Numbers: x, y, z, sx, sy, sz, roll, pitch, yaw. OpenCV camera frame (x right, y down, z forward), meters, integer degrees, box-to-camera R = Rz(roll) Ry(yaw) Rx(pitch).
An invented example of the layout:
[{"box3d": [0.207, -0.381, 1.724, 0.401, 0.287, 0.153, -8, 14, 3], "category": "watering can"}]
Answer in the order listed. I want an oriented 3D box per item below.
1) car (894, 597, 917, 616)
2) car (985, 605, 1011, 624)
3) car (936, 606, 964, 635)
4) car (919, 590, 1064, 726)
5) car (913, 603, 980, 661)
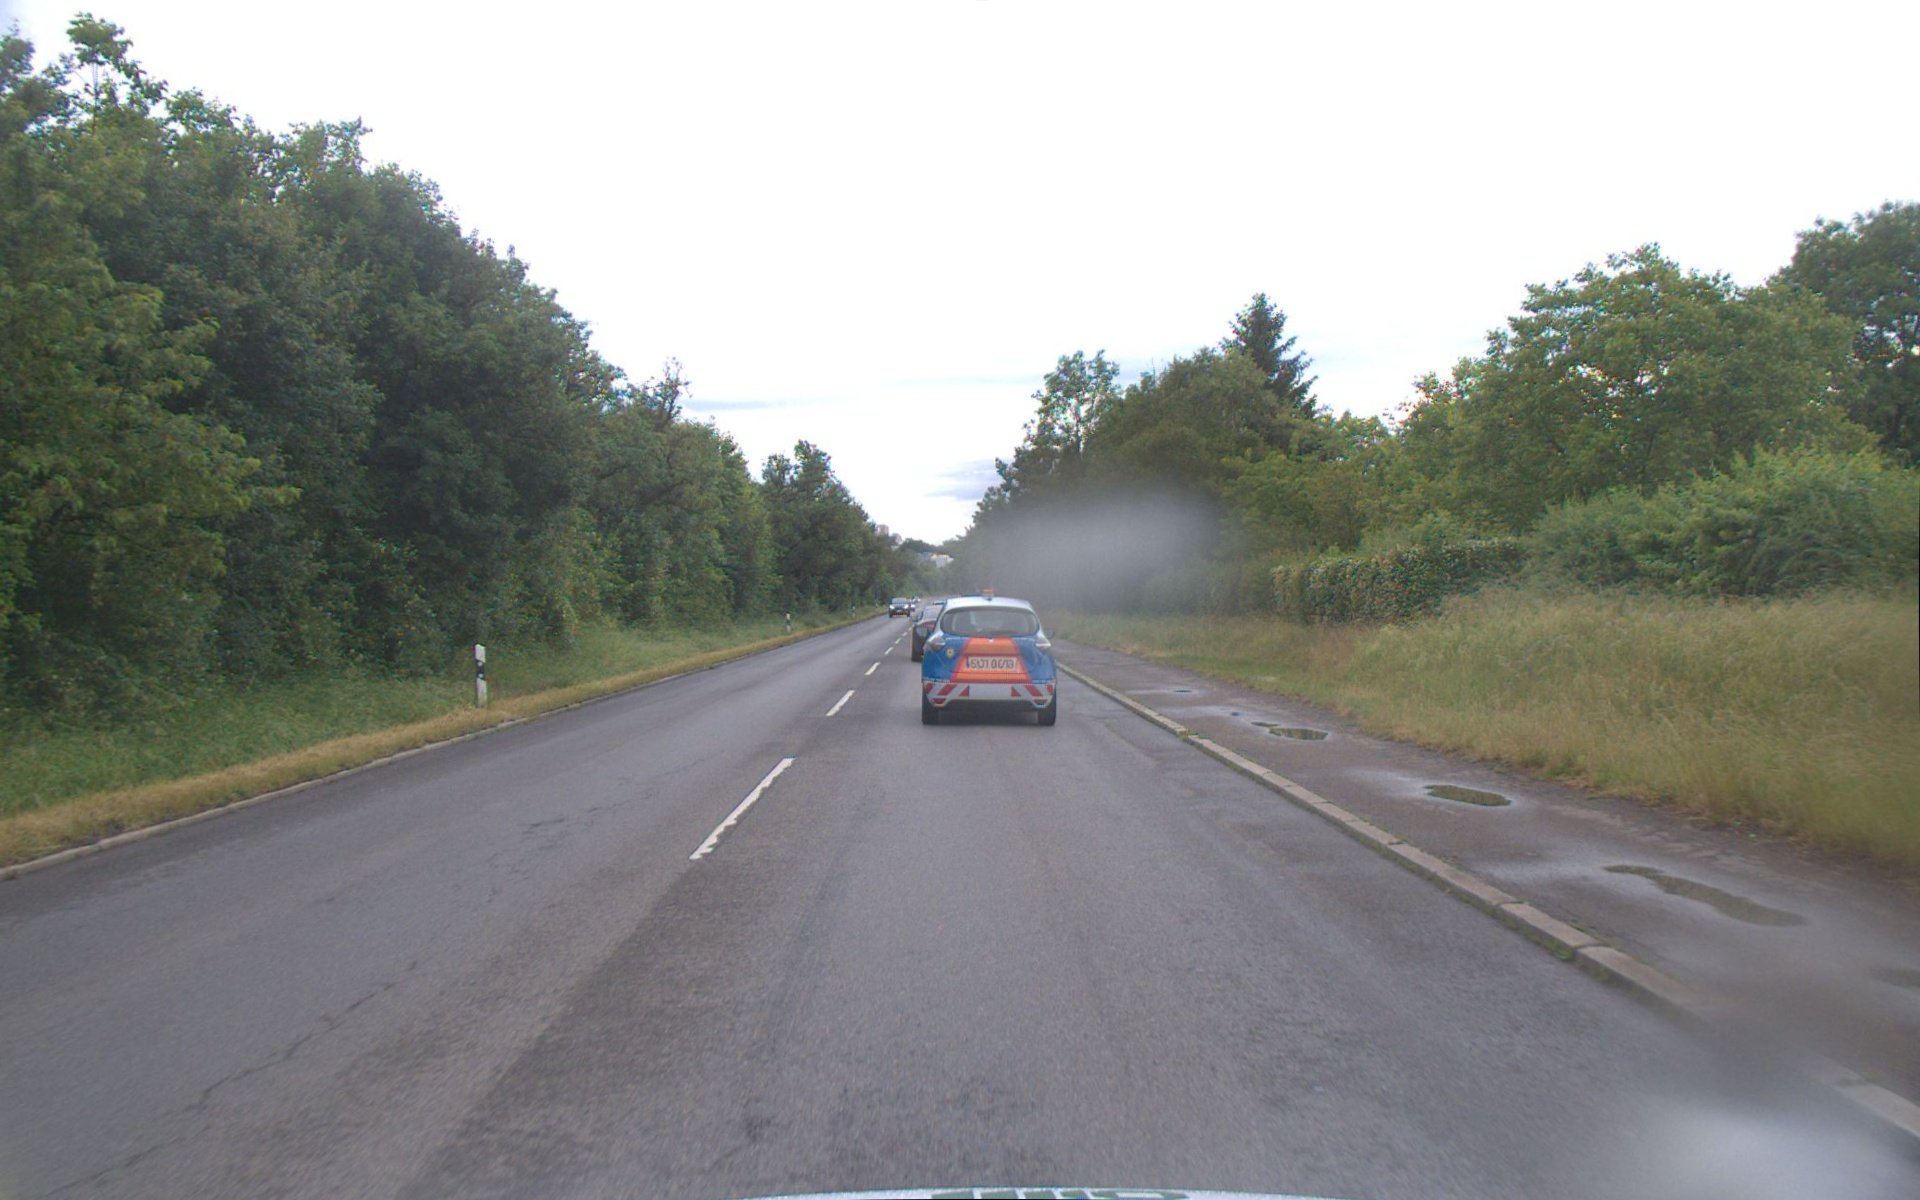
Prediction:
[{"box3d": [-4.749, 0.595, 145.043, 1.866, 1.584, 4.515, -1, 0, -1], "category": "car"}, {"box3d": [2.952, 1.102, 129.378, 1.953, 1.400, 4.000, -1, 0, 0], "category": "car"}, {"box3d": [-0.628, 1.323, 106.481, 1.752, 1.750, 4.000, -2, 0, 0], "category": "car"}, {"box3d": [0.347, 0.684, 21.652, 1.716, 1.583, 3.792, 0, 1, -1], "category": "car"}, {"box3d": [-0.314, 0.767, 41.221, 1.566, 1.309, 3.476, -1, 0, 0], "category": "car"}]
